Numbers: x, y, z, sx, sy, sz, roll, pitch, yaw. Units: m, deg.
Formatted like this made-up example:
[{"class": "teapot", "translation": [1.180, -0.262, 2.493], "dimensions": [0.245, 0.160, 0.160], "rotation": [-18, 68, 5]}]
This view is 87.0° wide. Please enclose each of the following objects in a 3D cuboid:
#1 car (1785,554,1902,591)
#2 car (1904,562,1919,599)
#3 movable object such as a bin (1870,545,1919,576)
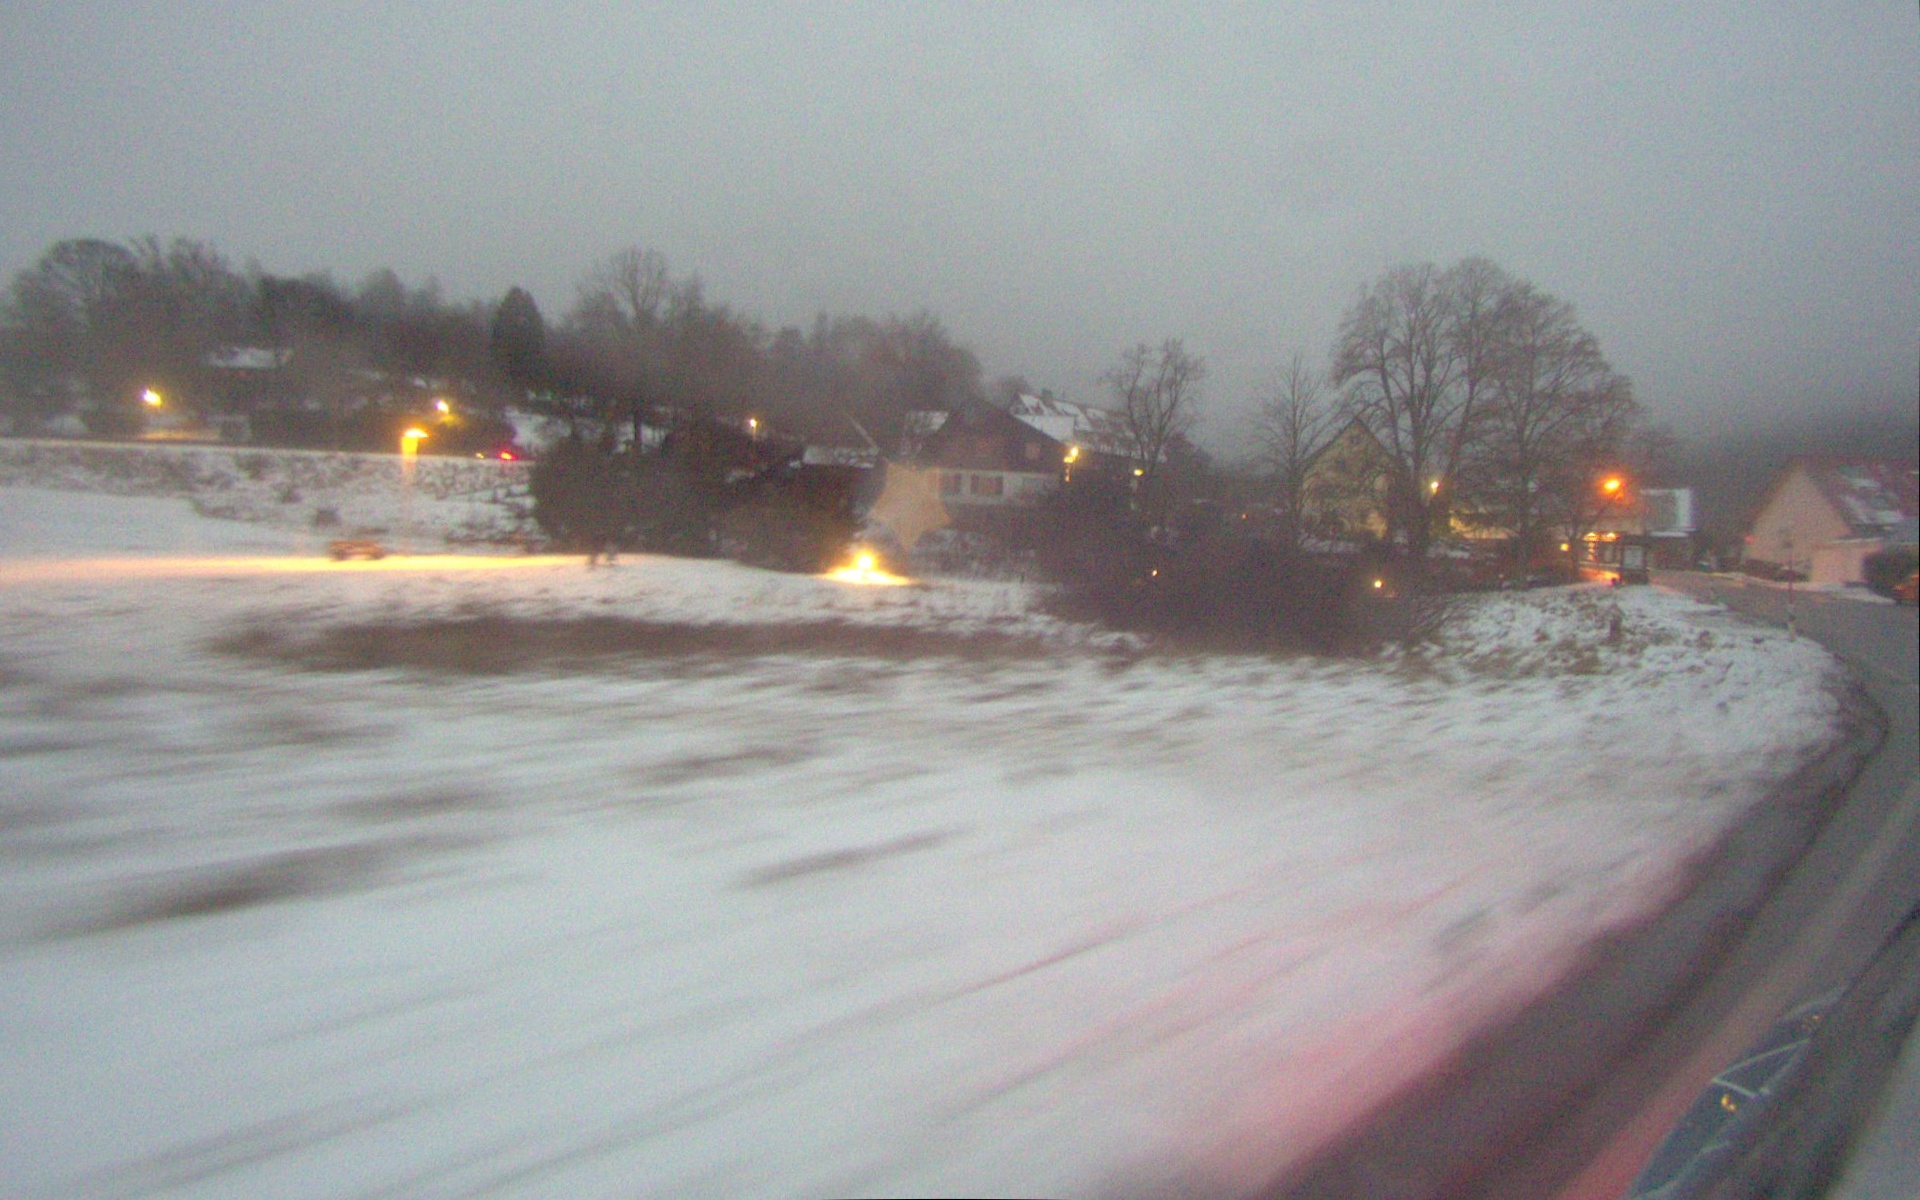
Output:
[{"class": "car", "translation": [57.838, -1.848, 66.384], "dimensions": [5.219, 2.036, 2.200], "rotation": [3, 7, 23]}, {"class": "car", "translation": [40.831, -0.764, 41.781], "dimensions": [1.708, 1.552, 3.485], "rotation": [3, 4, 27]}, {"class": "movable object such as a bin", "translation": [52.686, -2.213, 56.728], "dimensions": [1.417, 1.669, 2.366], "rotation": [-3, 2, -43]}]
